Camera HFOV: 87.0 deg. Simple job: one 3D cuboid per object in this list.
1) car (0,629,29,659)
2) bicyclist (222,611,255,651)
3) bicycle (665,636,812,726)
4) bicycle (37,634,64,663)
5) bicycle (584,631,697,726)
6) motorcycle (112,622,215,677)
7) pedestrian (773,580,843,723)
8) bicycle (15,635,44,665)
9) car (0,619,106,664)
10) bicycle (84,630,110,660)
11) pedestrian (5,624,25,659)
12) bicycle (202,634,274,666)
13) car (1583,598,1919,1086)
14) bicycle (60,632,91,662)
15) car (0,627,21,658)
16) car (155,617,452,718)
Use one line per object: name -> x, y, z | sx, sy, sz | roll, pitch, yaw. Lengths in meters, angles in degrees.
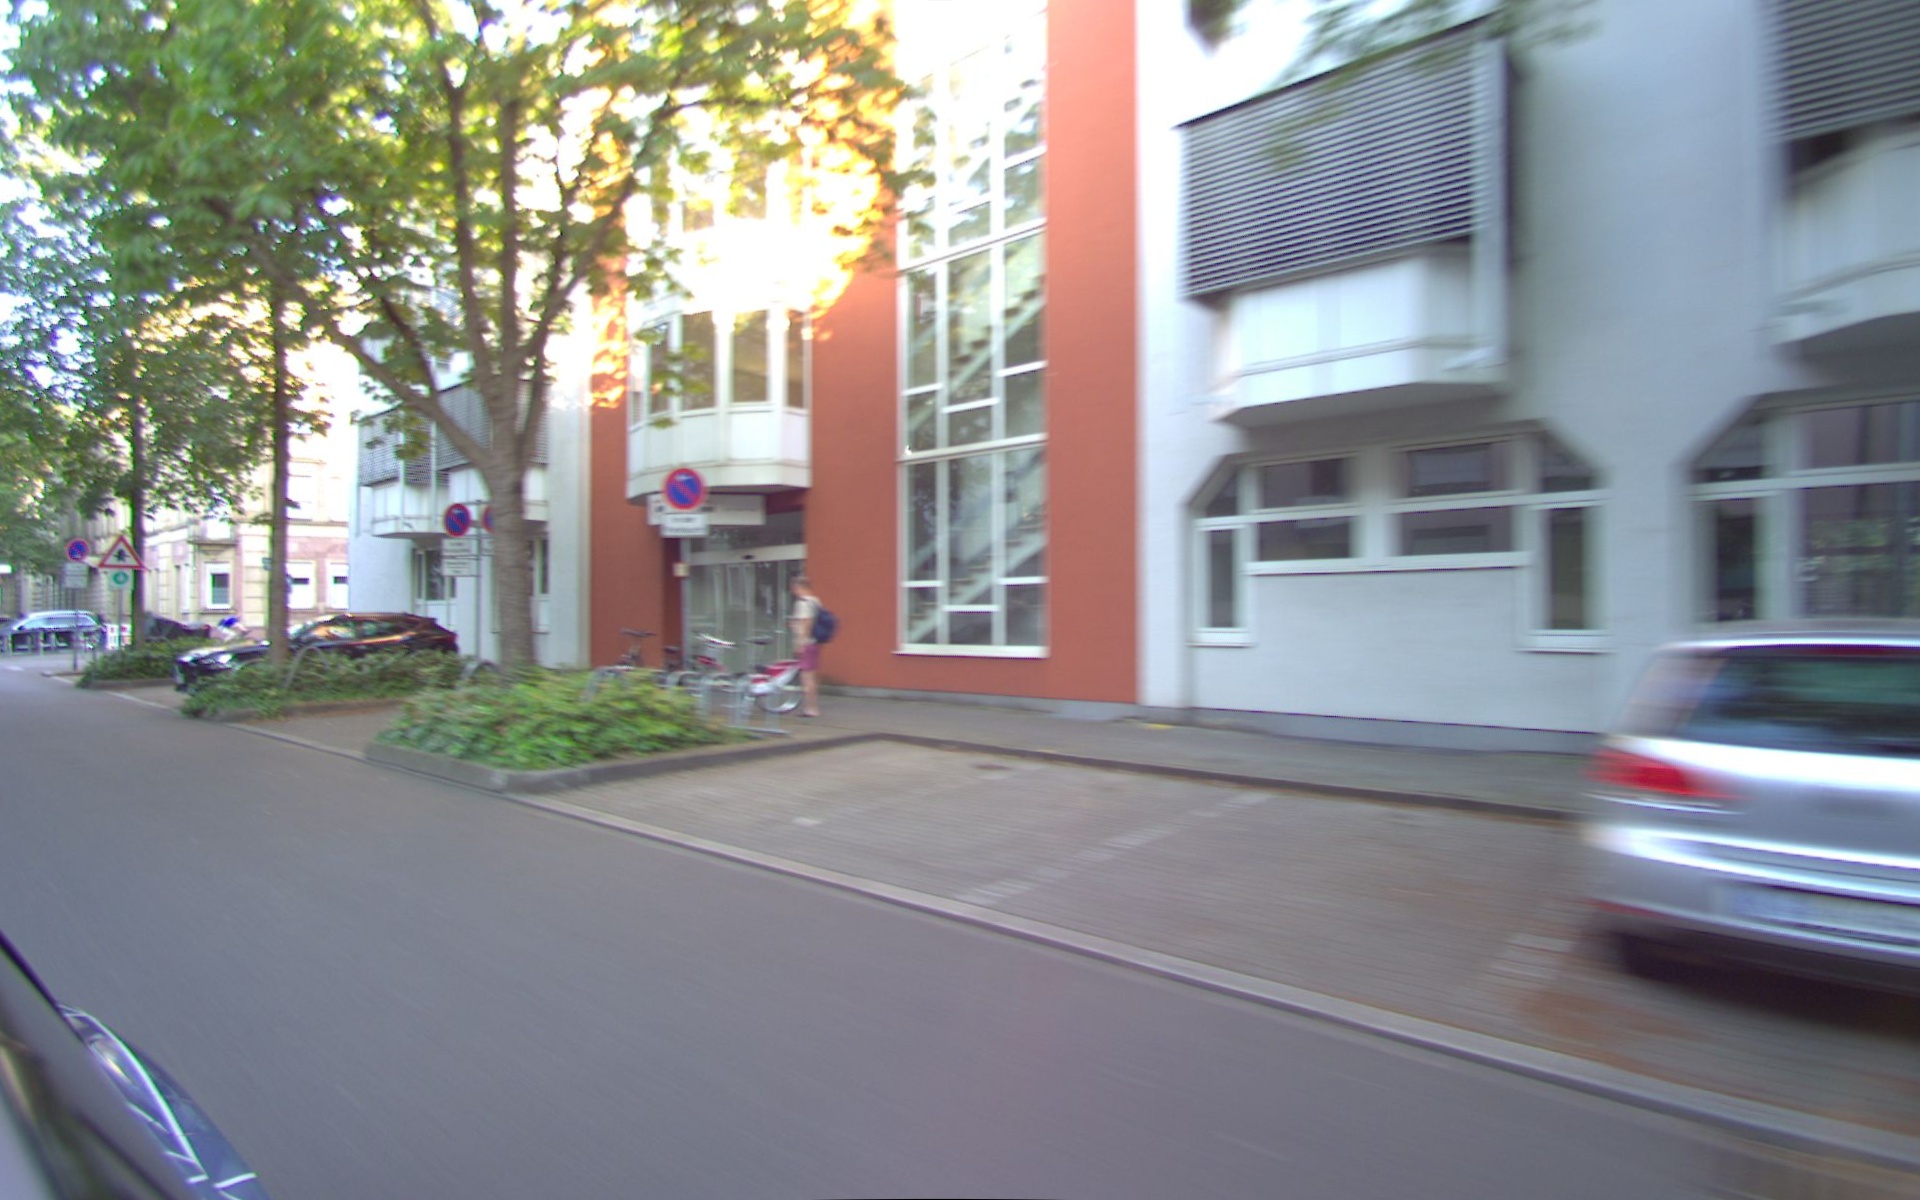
car -> -51.034, 2.313, 52.484 | 1.907, 1.544, 3.902 | -2, -1, 43
bicyclist -> -25.501, 1.094, 35.780 | 0.763, 1.374, 0.676 | -2, 0, -22
bicycle -> -2.867, 1.027, 13.148 | 1.769, 1.037, 0.502 | -1, -1, -27
bicycle -> -35.434, 1.891, 39.426 | 1.861, 1.026, 0.517 | 0, 3, 41
bicycle -> -4.184, 0.998, 13.390 | 0.496, 1.116, 1.790 | -1, 0, 17
motorcycle -> -22.939, 1.397, 29.197 | 0.853, 1.493, 2.199 | -3, -2, 22
pedestrian -> -1.959, 0.638, 12.999 | 0.693, 1.770, 0.742 | 0, -1, -25
bicycle -> -35.805, 1.909, 38.944 | 1.860, 1.067, 0.517 | 0, 3, 39
car -> -37.883, 1.701, 41.318 | 1.872, 1.663, 4.379 | -3, -1, 41
bicycle -> -34.572, 1.782, 40.536 | 1.861, 1.116, 0.512 | 0, 3, 41
pedestrian -> -48.684, 2.149, 52.158 | 0.725, 1.752, 0.672 | -1, -1, -43
bicycle -> -25.512, 1.755, 35.772 | 1.943, 1.038, 0.676 | -2, 0, -22
car -> 4.272, 0.756, 4.596 | 1.757, 1.497, 3.829 | -2, -1, 42
bicycle -> -34.935, 1.839, 39.970 | 1.861, 1.070, 0.661 | 0, 3, 41
car -> -55.907, 2.496, 57.040 | 1.906, 1.684, 4.158 | -3, -1, 41
car -> -11.624, 1.109, 18.118 | 1.928, 1.497, 4.086 | -2, -1, 40
